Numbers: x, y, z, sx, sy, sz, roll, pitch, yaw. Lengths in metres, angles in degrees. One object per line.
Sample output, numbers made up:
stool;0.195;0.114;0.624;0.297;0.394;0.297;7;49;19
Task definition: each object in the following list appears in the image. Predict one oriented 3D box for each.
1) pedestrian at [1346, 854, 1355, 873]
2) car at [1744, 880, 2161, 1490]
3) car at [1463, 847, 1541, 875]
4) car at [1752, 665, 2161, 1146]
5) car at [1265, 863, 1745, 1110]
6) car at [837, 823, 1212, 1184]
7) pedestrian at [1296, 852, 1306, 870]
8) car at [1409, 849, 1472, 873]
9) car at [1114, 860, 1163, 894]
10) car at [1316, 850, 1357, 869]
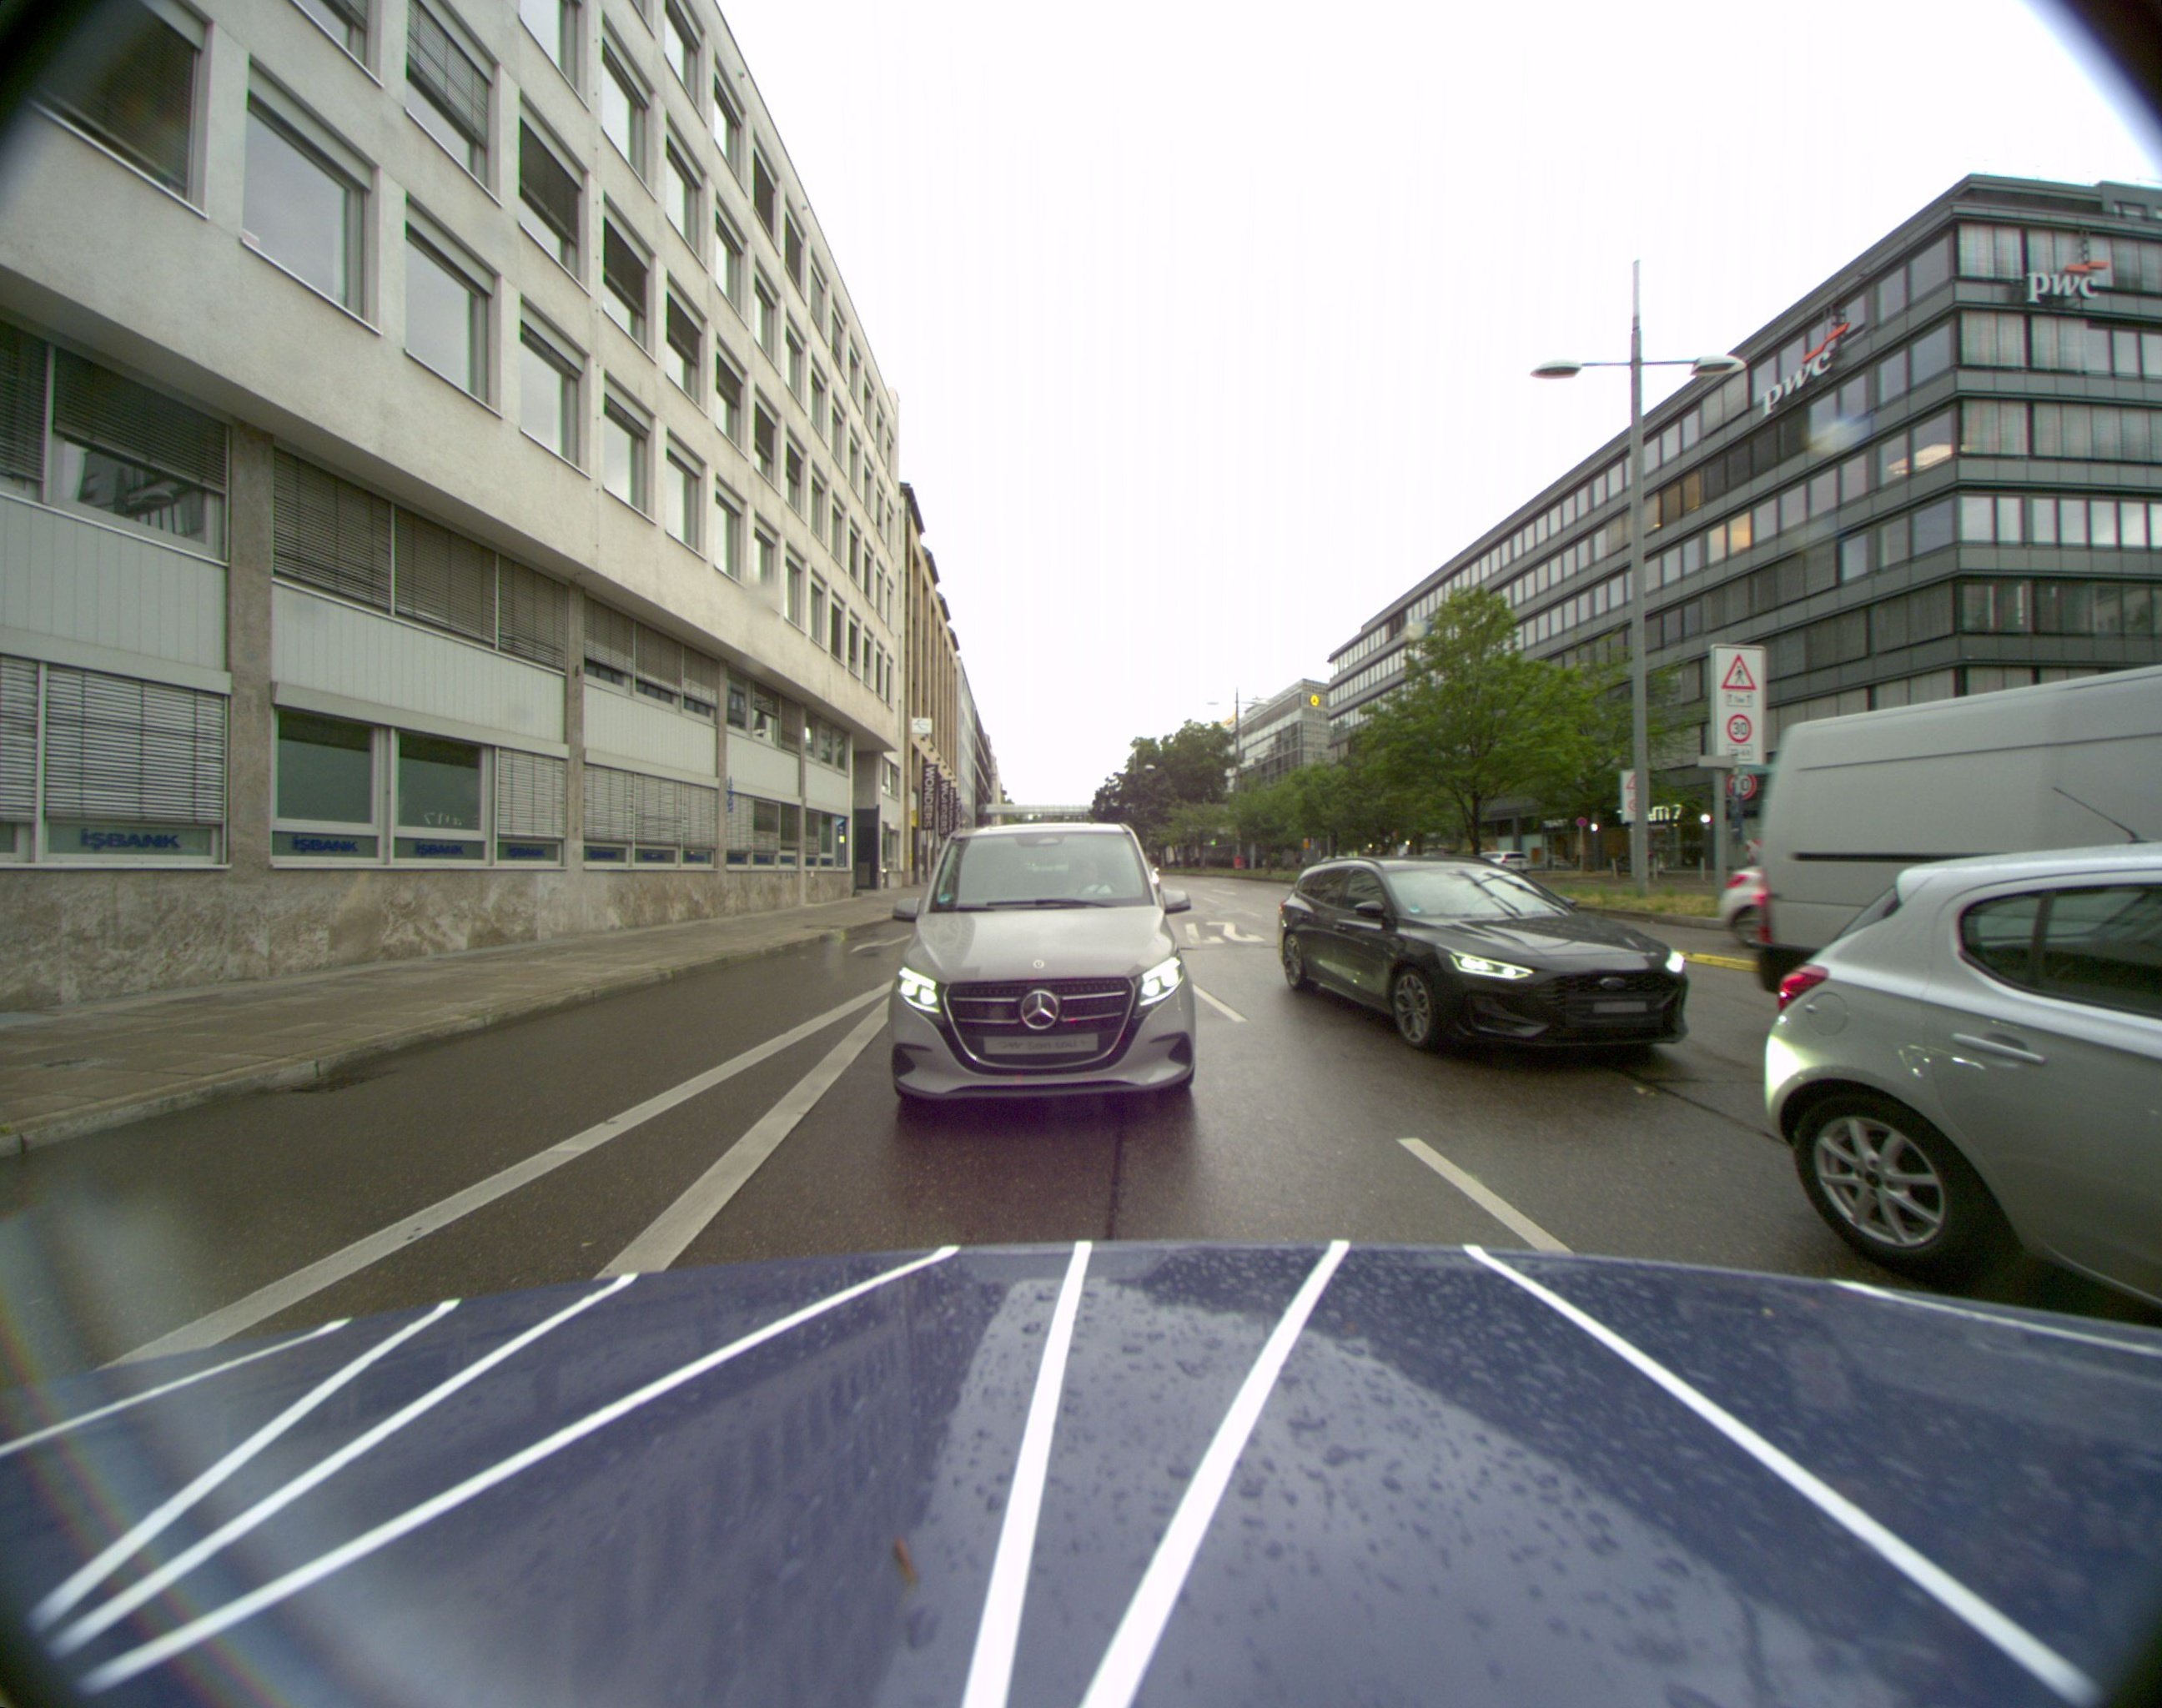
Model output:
pedestrian;29.395;1.011;82.883;0.689;2.002;0.501;-2;0;-3
car;3.505;0.842;1.105;1.652;1.427;3.875;-2;0;0
car;24.095;0.398;43.660;1.999;1.498;3.999;-2;0;-4
car;6.448;0.230;3.276;1.952;2.426;5.478;-2;0;-4
car;3.152;0.841;6.769;1.776;1.427;4.093;-2;0;-4
car;-0.312;0.798;6.538;1.916;1.844;5.026;-2;0;0
pedestrian;25.012;0.792;86.441;0.928;2.002;0.539;-2;0;-1
car;23.637;0.458;50.119;1.999;1.498;4.106;-2;0;-4
car;2.500;0.986;33.927;1.776;1.372;4.094;-2;0;-1
car;22.385;0.470;66.664;1.999;1.498;3.999;-2;0;-4
